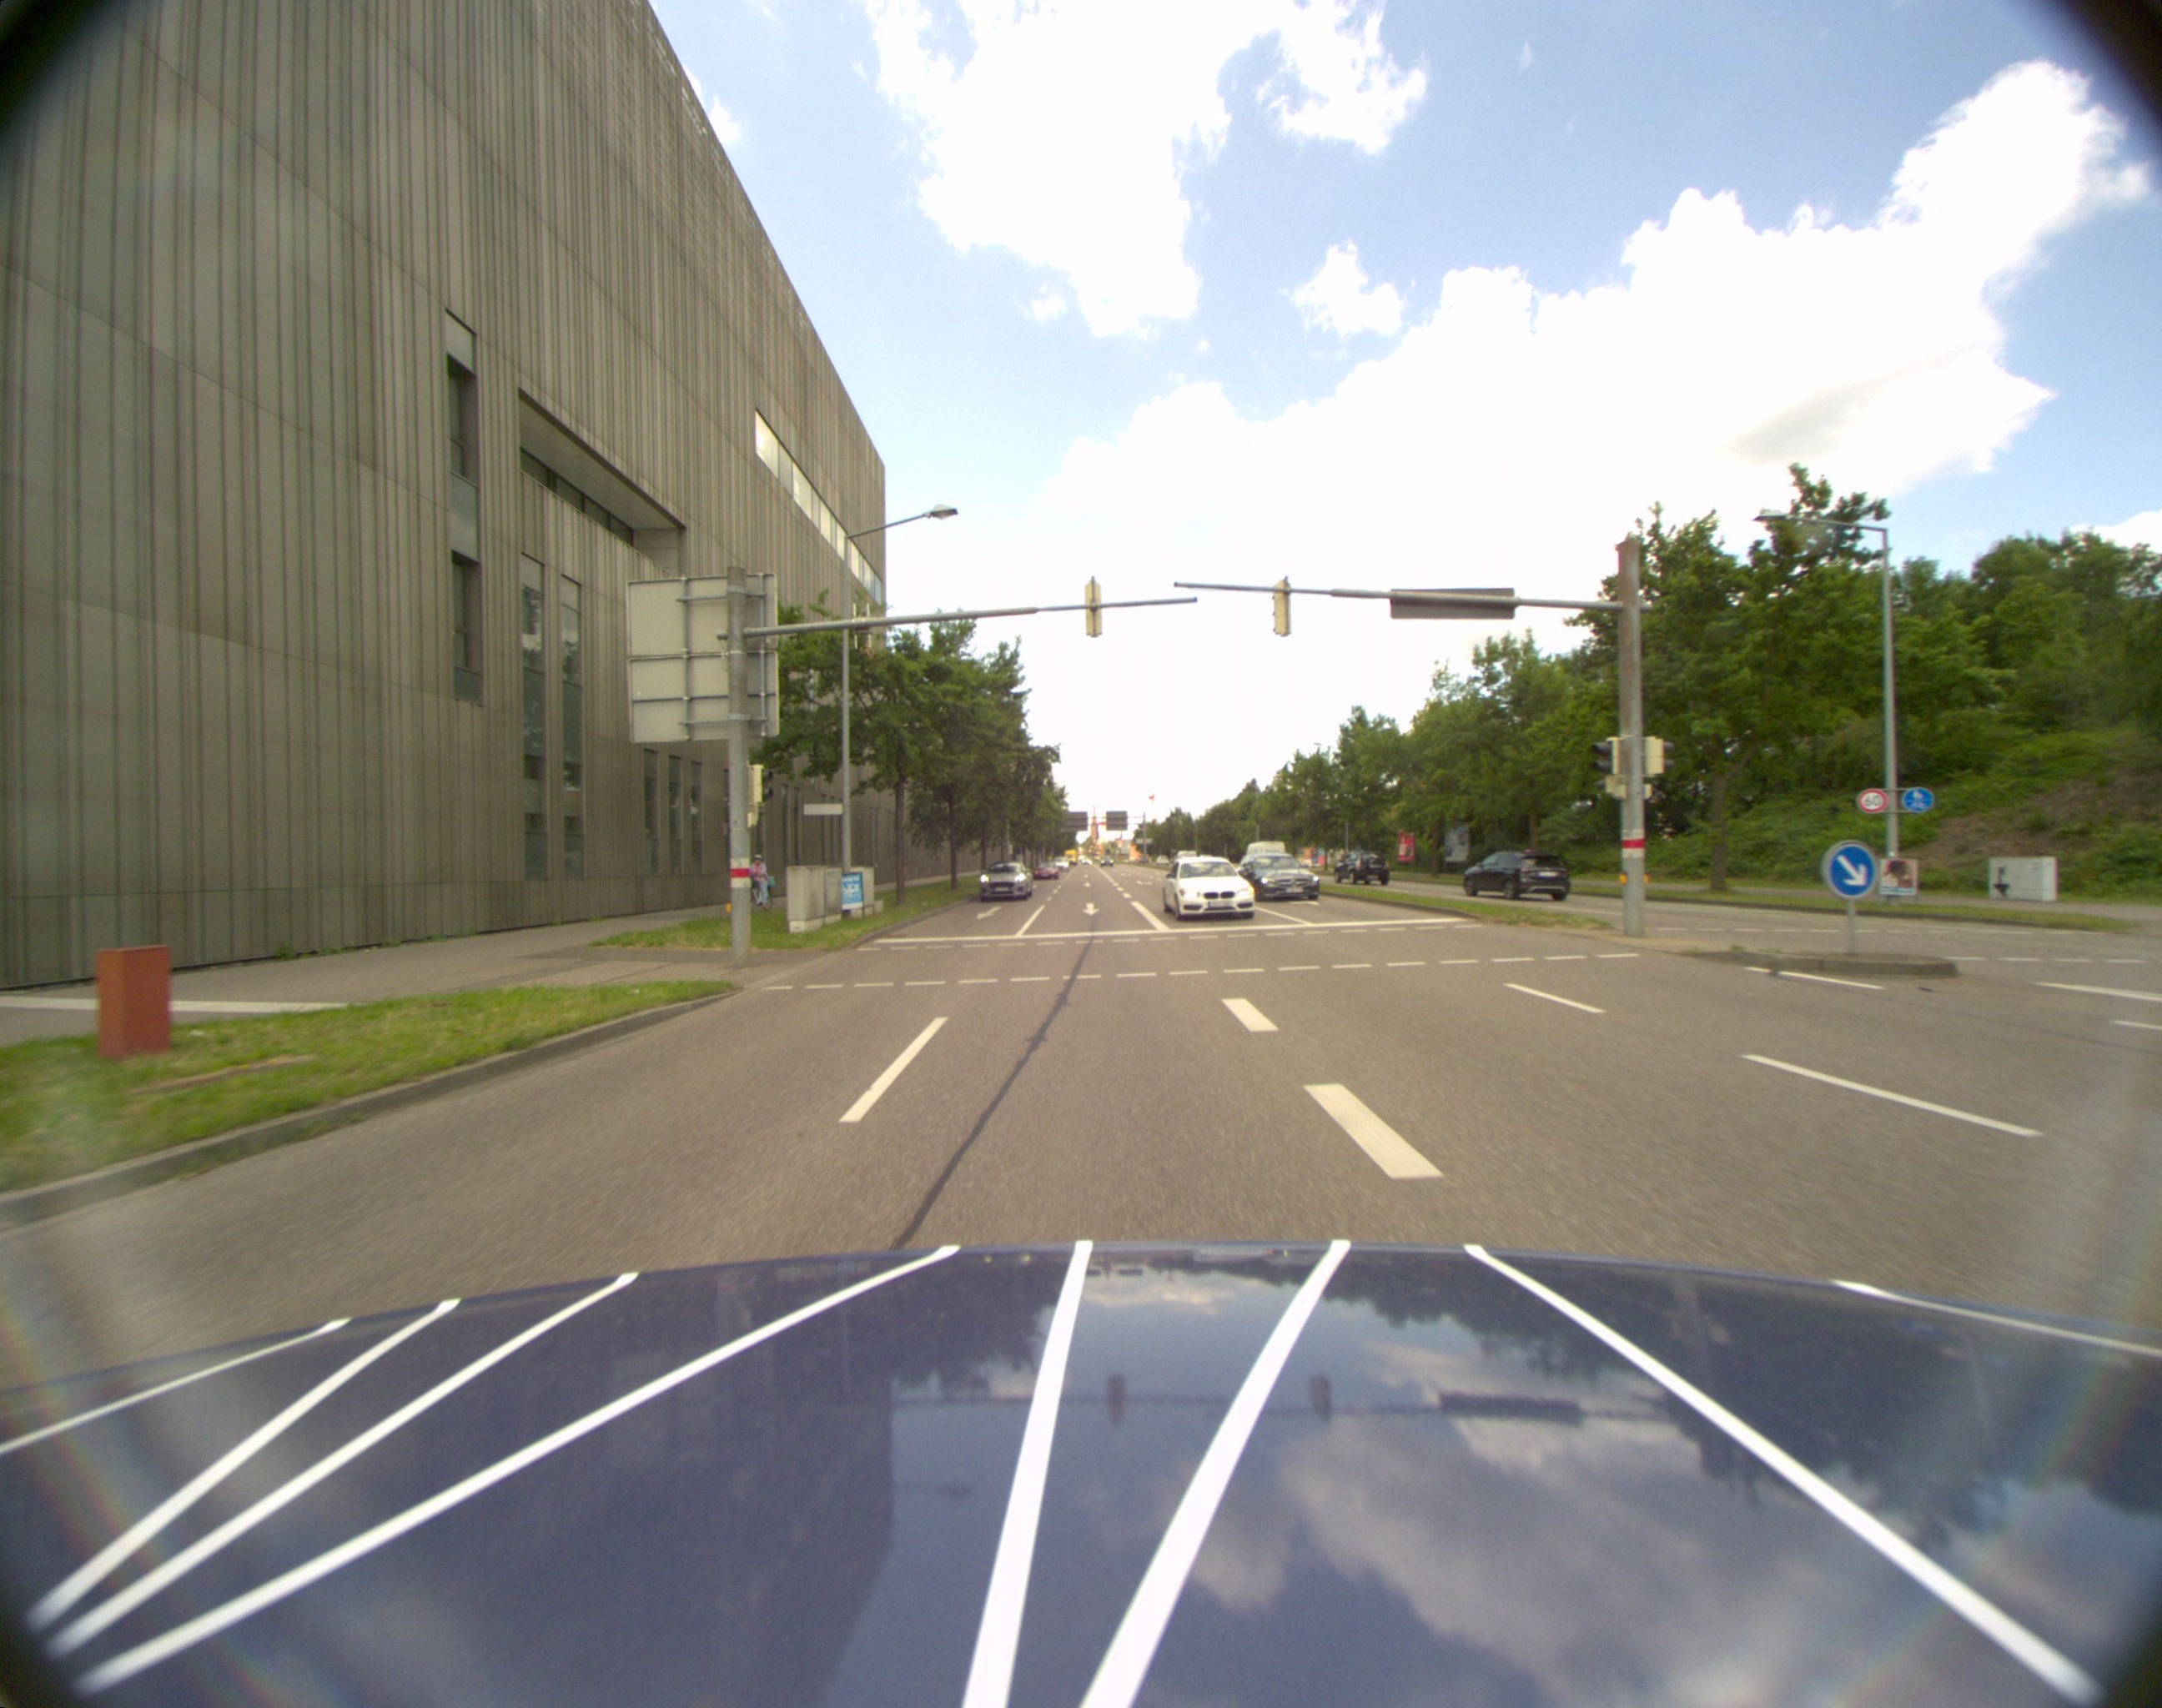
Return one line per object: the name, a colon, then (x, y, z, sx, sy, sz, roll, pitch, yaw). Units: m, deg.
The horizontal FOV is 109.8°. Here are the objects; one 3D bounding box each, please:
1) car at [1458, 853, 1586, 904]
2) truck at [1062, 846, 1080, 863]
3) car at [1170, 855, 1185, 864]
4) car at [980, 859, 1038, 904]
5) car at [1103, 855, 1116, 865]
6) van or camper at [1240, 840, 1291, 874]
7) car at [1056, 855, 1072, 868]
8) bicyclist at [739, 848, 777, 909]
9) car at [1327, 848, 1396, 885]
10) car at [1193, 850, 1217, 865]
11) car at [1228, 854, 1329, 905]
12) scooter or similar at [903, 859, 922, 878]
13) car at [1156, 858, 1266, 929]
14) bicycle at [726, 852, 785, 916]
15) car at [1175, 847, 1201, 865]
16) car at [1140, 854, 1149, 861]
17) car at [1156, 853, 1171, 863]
car: (14.432, 0.747, 25.172, 1.930, 1.520, 4.000, -1, 0, 0)
truck: (-1.813, 0.115, 140.819, 3.066, 3.095, 7.935, 0, 0, 1)
car: (16.380, 0.950, 128.516, 1.919, 1.434, 4.415, 1, 0, 0)
car: (-2.770, 1.017, 30.022, 1.823, 1.565, 3.954, -3, 0, 1)
car: (4.129, 0.858, 110.565, 1.782, 1.487, 3.598, 0, 0, 0)
van or camper: (14.838, 0.248, 61.650, 2.358, 2.525, 7.063, -2, 0, 0)
car: (-1.866, 0.817, 85.140, 1.713, 1.487, 3.650, 0, 0, 1)
bicyclist: (-9.499, 0.703, 22.354, 0.717, 1.758, 0.988, -1, 1, -3)
car: (14.384, 0.608, 39.282, 1.999, 1.756, 4.220, -1, 0, 0)
car: (15.558, 0.421, 95.832, 1.999, 1.790, 4.407, 0, 0, -4)
car: (6.181, 0.745, 24.396, 1.998, 1.407, 4.832, -2, 0, 1)
scooter or similar: (-11.446, 0.971, 51.580, 0.706, 1.239, 2.479, 0, 0, 1)
car: (3.053, 0.881, 18.684, 1.920, 1.406, 4.295, -4, 0, 1)
bicycle: (-9.496, 0.829, 22.288, 0.721, 1.763, 2.533, -1, 0, -3)
car: (12.221, 0.220, 86.800, 2.196, 1.952, 5.193, 0, 0, -1)
car: (15.782, 0.876, 189.263, 1.964, 1.508, 4.909, -1, 0, 0)
car: (13.386, 0.637, 124.094, 1.998, 1.423, 5.024, -1, 0, 1)
